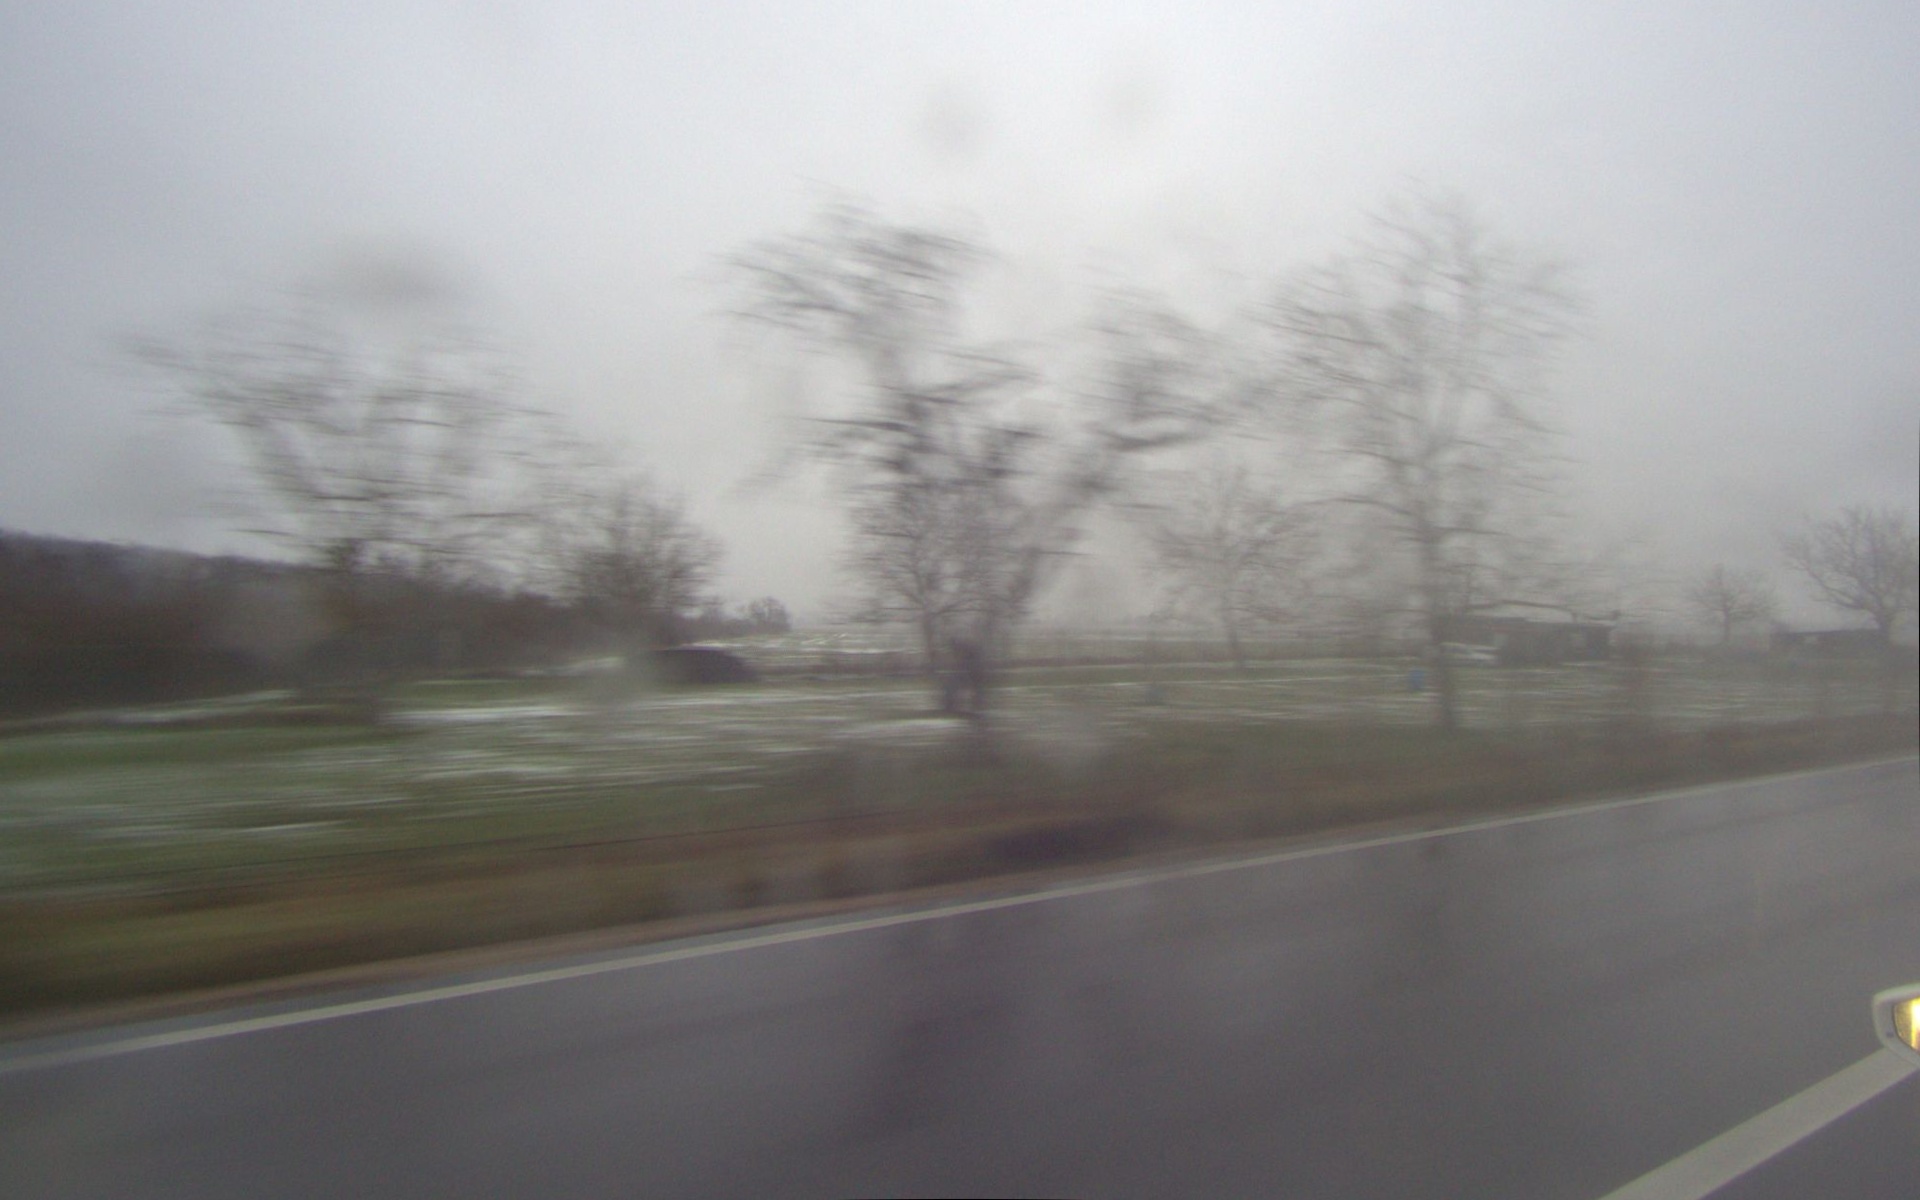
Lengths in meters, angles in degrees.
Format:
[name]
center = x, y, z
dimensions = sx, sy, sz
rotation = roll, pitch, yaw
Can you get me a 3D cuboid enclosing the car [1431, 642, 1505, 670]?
[car]
center = 28.813, 3.143, 57.049
dimensions = 1.588, 1.360, 3.407
rotation = 2, 0, -44
